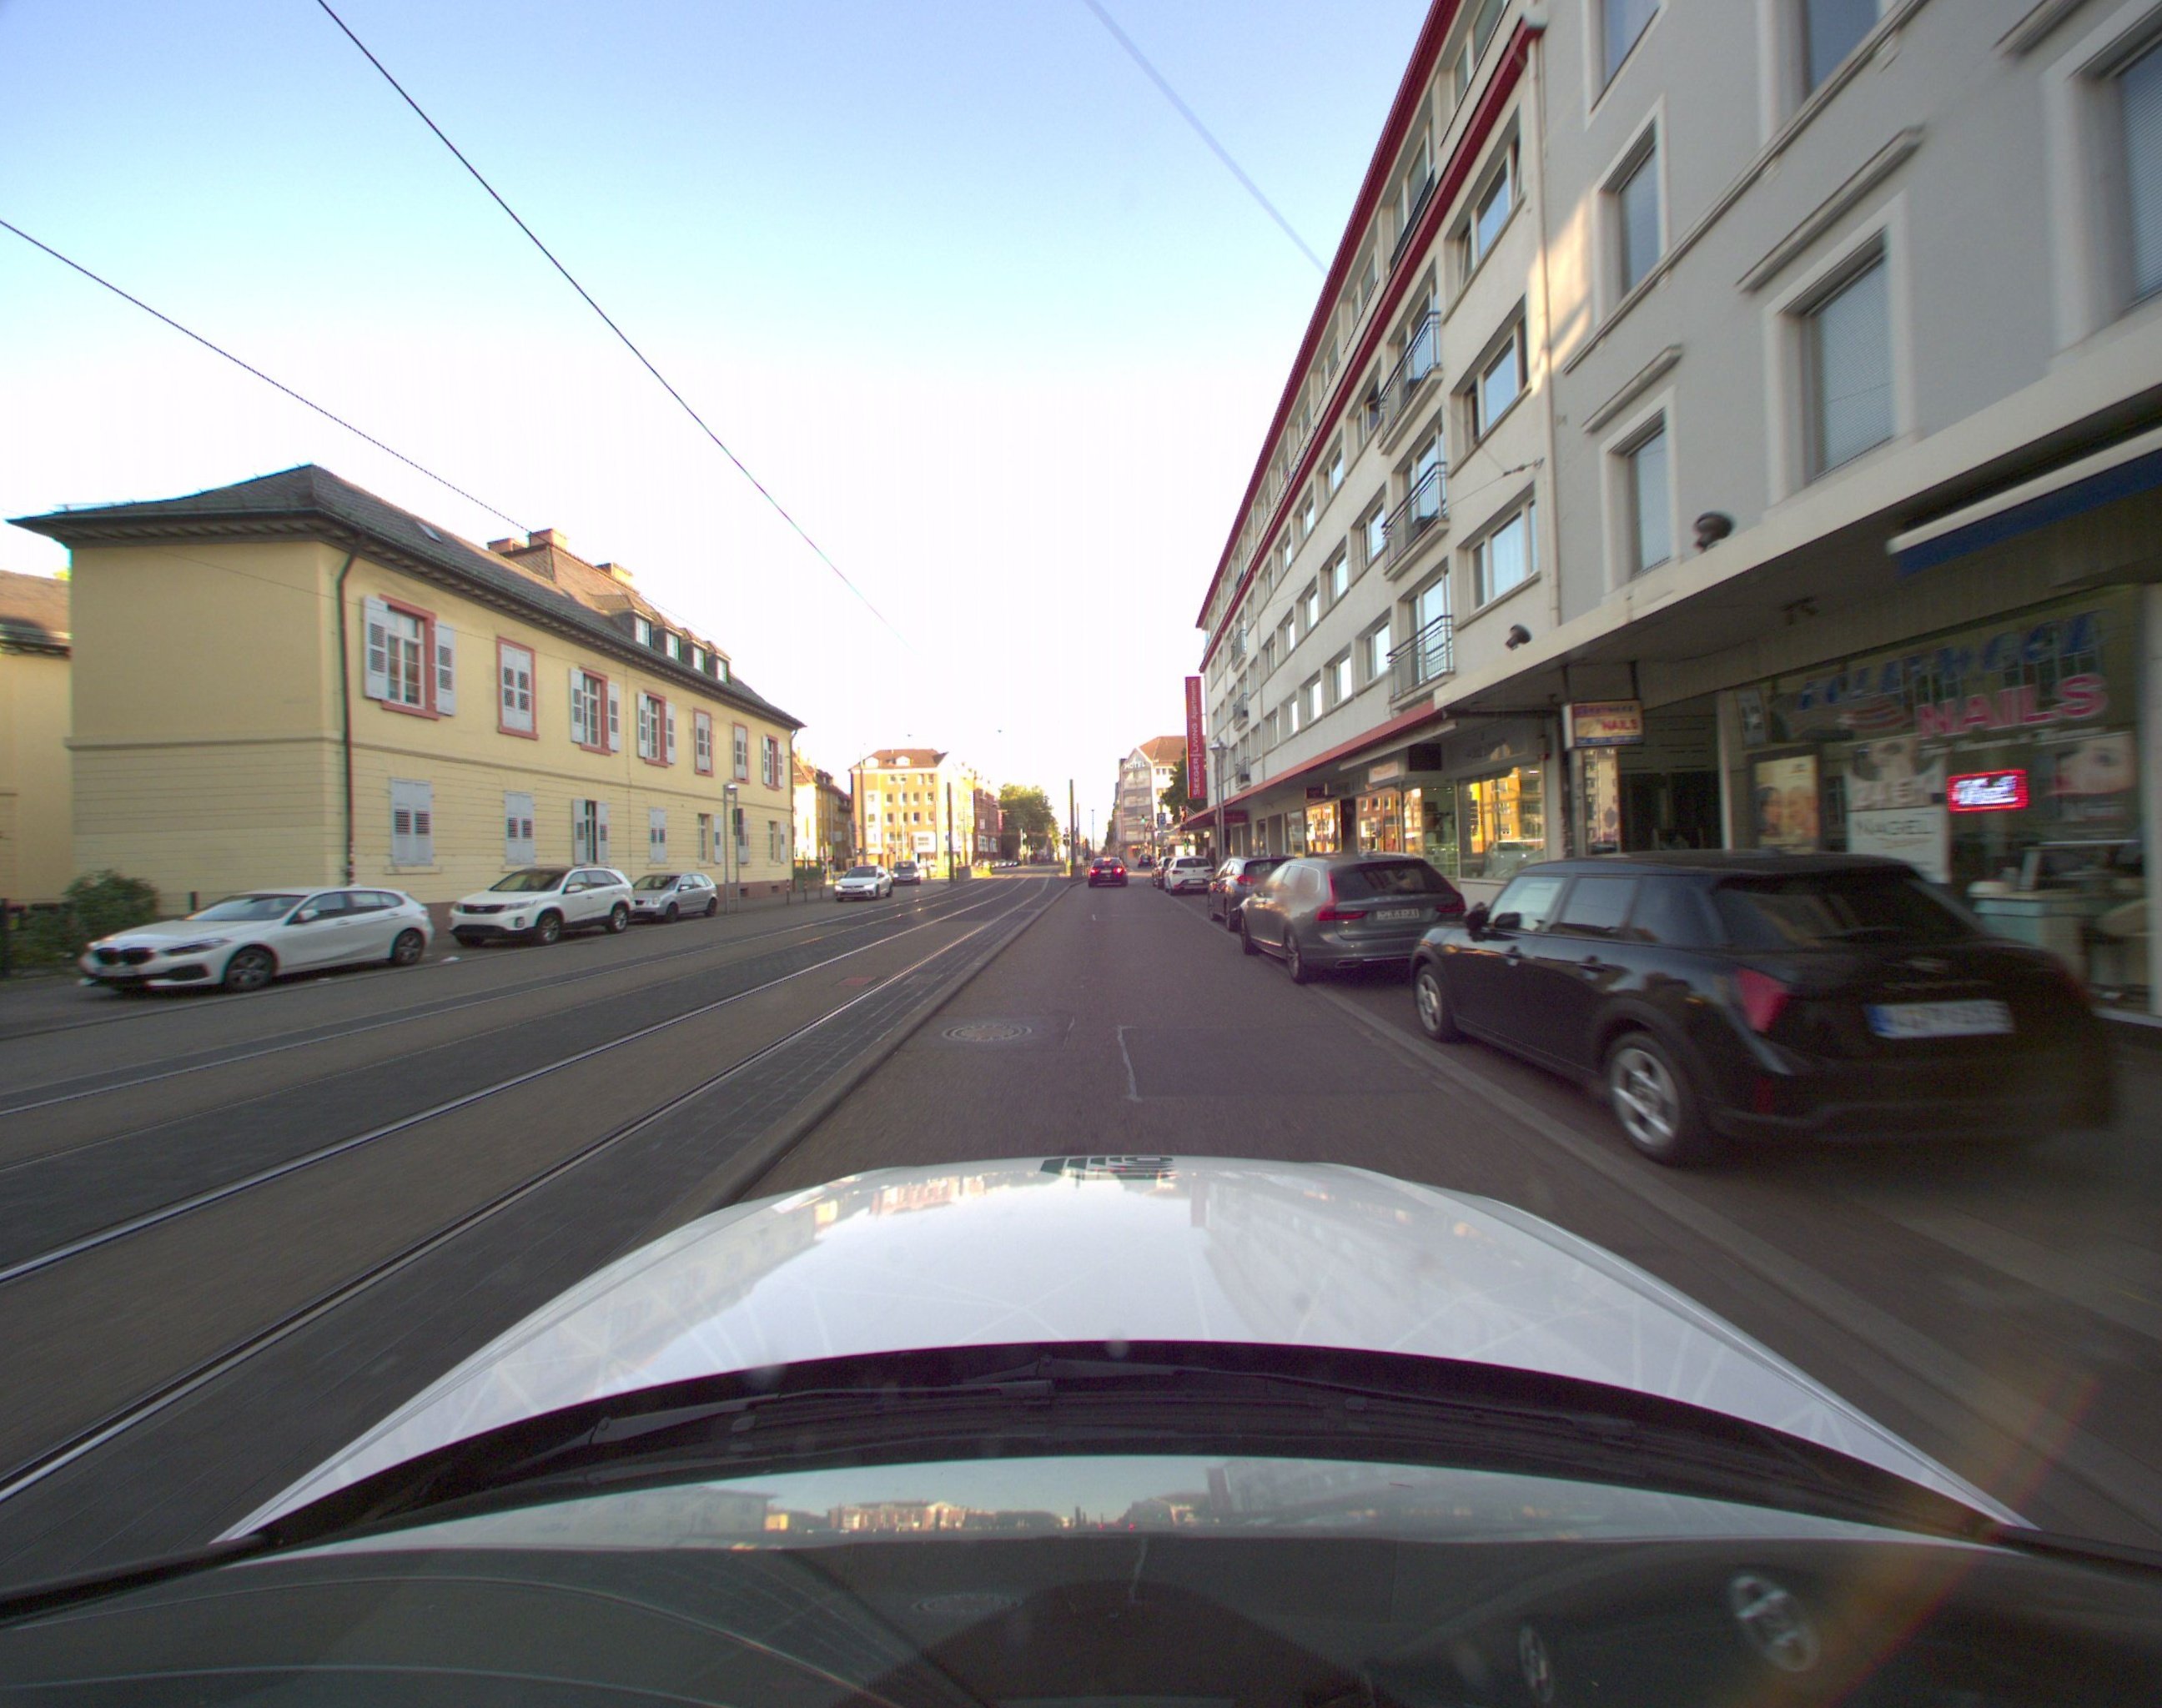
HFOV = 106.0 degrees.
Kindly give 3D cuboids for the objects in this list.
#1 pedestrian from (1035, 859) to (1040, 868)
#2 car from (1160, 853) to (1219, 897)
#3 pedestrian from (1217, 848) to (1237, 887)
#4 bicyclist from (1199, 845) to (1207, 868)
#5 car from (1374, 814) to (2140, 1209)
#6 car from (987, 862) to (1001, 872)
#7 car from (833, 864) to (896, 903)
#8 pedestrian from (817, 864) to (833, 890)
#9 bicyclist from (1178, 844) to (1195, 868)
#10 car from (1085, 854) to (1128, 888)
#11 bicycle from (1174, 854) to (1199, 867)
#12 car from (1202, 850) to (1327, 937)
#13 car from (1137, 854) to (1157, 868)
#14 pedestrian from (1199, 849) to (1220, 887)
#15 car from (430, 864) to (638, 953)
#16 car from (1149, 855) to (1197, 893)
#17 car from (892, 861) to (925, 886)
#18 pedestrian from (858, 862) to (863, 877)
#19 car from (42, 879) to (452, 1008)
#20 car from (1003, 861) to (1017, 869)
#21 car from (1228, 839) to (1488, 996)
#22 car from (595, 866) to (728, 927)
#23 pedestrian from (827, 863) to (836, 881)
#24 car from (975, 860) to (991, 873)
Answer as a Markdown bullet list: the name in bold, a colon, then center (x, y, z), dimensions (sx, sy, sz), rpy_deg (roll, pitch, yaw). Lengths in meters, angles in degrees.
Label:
- **pedestrian**: center (-9.221, 1.979, 171.126), dimensions (0.984, 2.014, 0.726), rpy_deg (0, -1, 0)
- **car**: center (4.123, 0.760, 31.421), dimensions (1.778, 1.512, 4.053), rpy_deg (-3, 0, 2)
- **pedestrian**: center (6.790, 0.614, 37.935), dimensions (0.726, 1.741, 0.863), rpy_deg (-3, -1, 2)
- **bicyclist**: center (10.015, 0.225, 66.733), dimensions (0.464, 1.830, 0.558), rpy_deg (-2, -1, -7)
- **car**: center (3.457, 0.648, 5.319), dimensions (1.679, 1.512, 4.037), rpy_deg (-3, 0, 2)
- **car**: center (-14.891, 2.287, 139.462), dimensions (1.988, 1.585, 4.585), rpy_deg (-2, 0, -1)
- **car**: center (-9.347, 1.244, 35.470), dimensions (1.802, 1.512, 4.030), rpy_deg (-2, 0, -3)
- **pedestrian**: center (-16.193, 1.452, 51.524), dimensions (0.731, 1.584, 0.952), rpy_deg (-2, -1, -9)
- **bicyclist**: center (8.517, 0.143, 65.730), dimensions (0.844, 1.917, 1.103), rpy_deg (-1, -1, -36)
- **car**: center (1.273, 0.828, 41.238), dimensions (1.986, 1.585, 4.001), rpy_deg (-2, 0, 1)
- **bicycle**: center (8.518, 0.541, 65.741), dimensions (0.844, 1.020, 2.054), rpy_deg (-1, 0, -36)
- **car**: center (3.701, 0.742, 17.179), dimensions (1.728, 1.512, 4.305), rpy_deg (-3, 0, 2)
- **car**: center (7.510, 0.776, 92.593), dimensions (1.986, 1.552, 4.001), rpy_deg (-2, 0, 2)
- **pedestrian**: center (6.114, 0.666, 38.842), dimensions (0.824, 1.718, 0.843), rpy_deg (-3, -1, 2)
- **car**: center (-12.485, 1.152, 19.019), dimensions (1.807, 1.786, 4.495), rpy_deg (1, 0, -1)
- **car**: center (4.069, 0.869, 36.718), dimensions (1.728, 1.512, 4.688), rpy_deg (-3, 0, 2)
- **car**: center (-11.135, 1.232, 52.823), dimensions (1.734, 1.512, 4.023), rpy_deg (-2, 0, -8)
- **pedestrian**: center (-26.668, 1.892, 98.562), dimensions (0.501, 1.868, 0.562), rpy_deg (0, -1, -4)
- **car**: center (-12.814, 1.261, 13.040), dimensions (1.805, 1.512, 4.436), rpy_deg (-2, 0, 3)
- **car**: center (-14.499, 2.273, 165.972), dimensions (1.659, 1.448, 4.213), rpy_deg (-2, 0, 10)
- **car**: center (3.284, 0.665, 10.755), dimensions (1.784, 1.512, 4.711), rpy_deg (-3, 0, 0)
- **car**: center (-12.587, 1.209, 24.777), dimensions (1.806, 1.617, 4.215), rpy_deg (0, 0, 1)
- **pedestrian**: center (-27.388, 1.952, 89.385), dimensions (0.885, 1.868, 0.970), rpy_deg (-2, -1, -20)
- **car**: center (-15.537, 1.978, 128.876), dimensions (1.988, 1.901, 4.809), rpy_deg (-2, 0, -1)
